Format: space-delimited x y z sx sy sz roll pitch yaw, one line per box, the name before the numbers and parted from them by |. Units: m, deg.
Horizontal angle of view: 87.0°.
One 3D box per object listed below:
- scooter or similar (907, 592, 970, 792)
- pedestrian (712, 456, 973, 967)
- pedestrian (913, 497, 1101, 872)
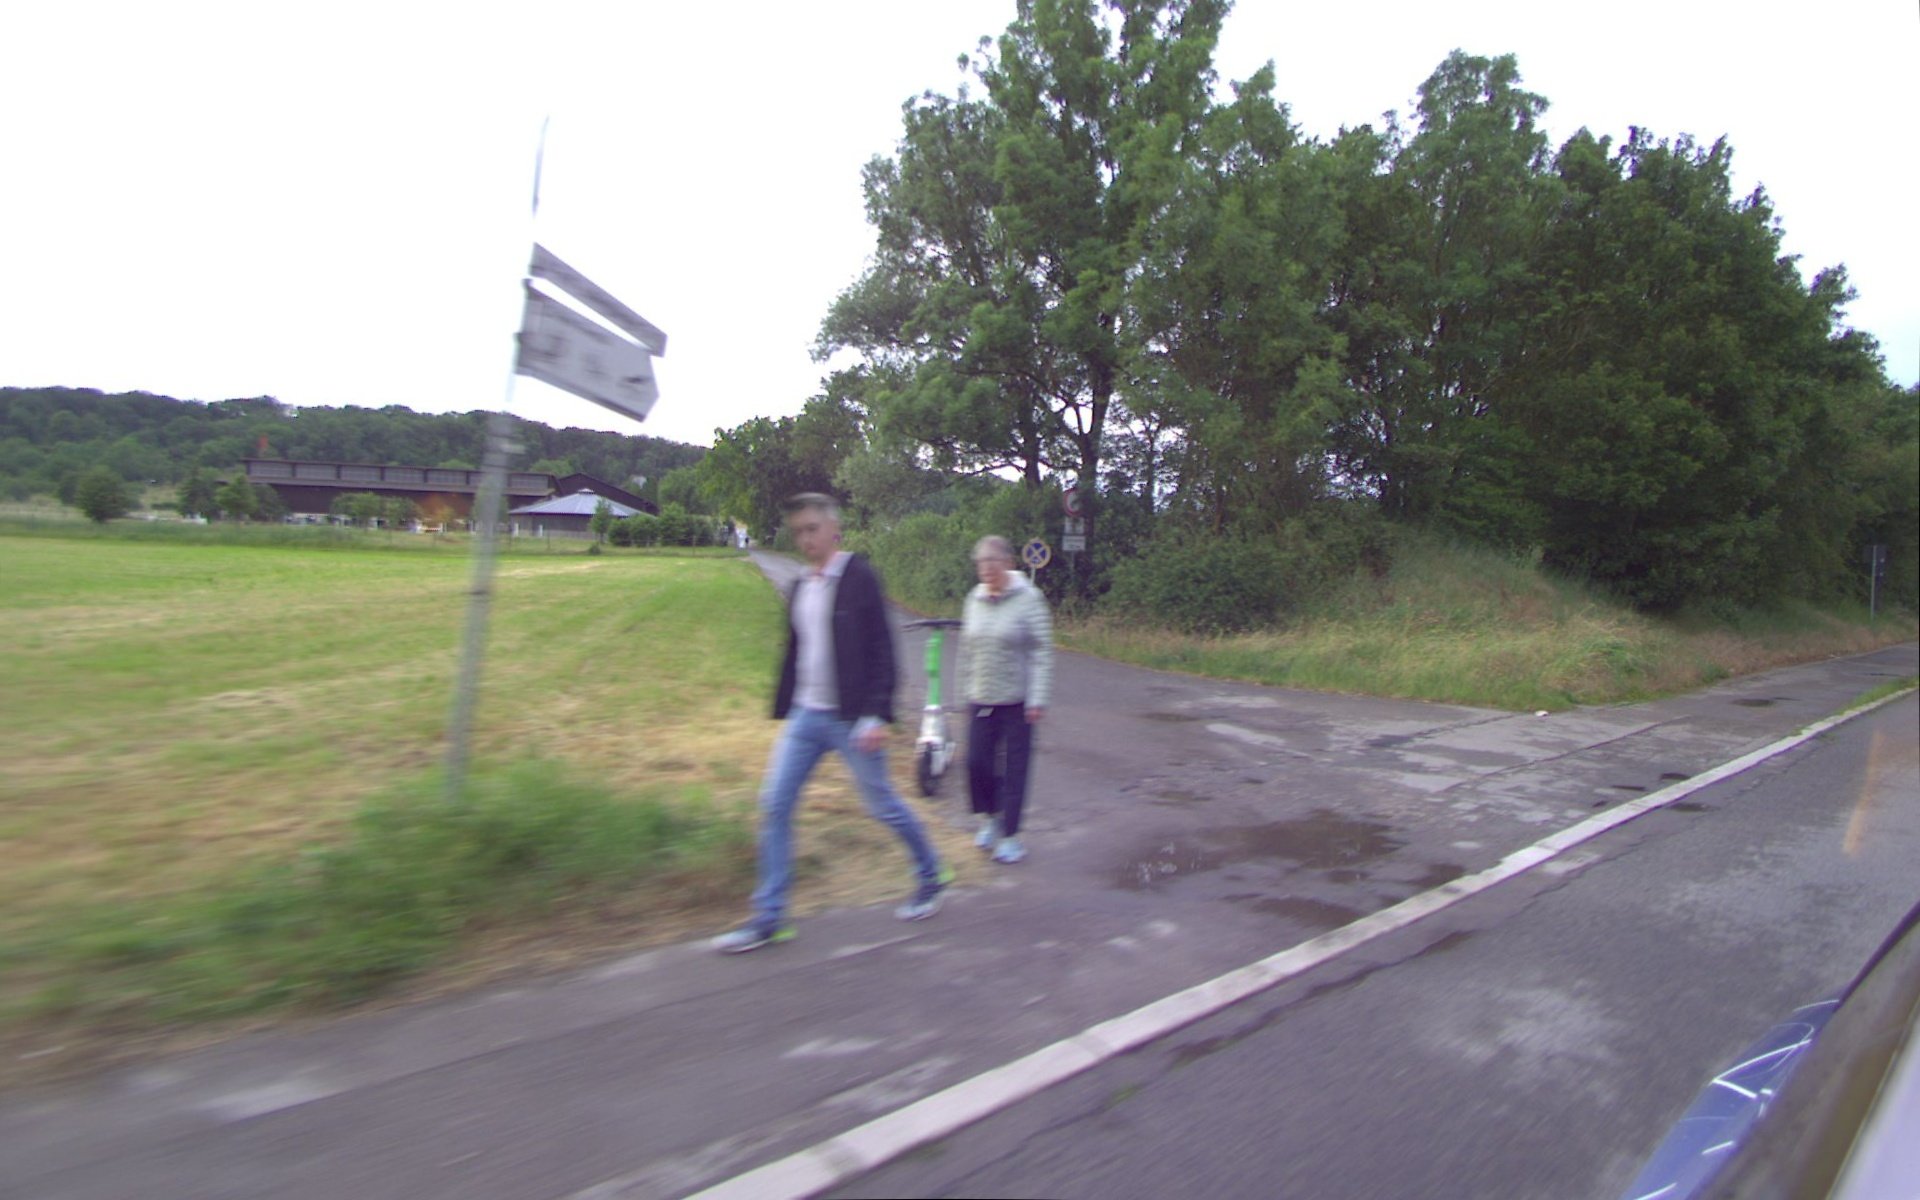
scooter or similar | -0.137 0.584 7.113 0.367 1.221 1.328 2 2 0
pedestrian | -0.471 0.382 4.173 0.690 1.850 0.792 3 3 33
pedestrian | 0.258 0.385 5.336 0.658 1.800 0.751 3 3 32
